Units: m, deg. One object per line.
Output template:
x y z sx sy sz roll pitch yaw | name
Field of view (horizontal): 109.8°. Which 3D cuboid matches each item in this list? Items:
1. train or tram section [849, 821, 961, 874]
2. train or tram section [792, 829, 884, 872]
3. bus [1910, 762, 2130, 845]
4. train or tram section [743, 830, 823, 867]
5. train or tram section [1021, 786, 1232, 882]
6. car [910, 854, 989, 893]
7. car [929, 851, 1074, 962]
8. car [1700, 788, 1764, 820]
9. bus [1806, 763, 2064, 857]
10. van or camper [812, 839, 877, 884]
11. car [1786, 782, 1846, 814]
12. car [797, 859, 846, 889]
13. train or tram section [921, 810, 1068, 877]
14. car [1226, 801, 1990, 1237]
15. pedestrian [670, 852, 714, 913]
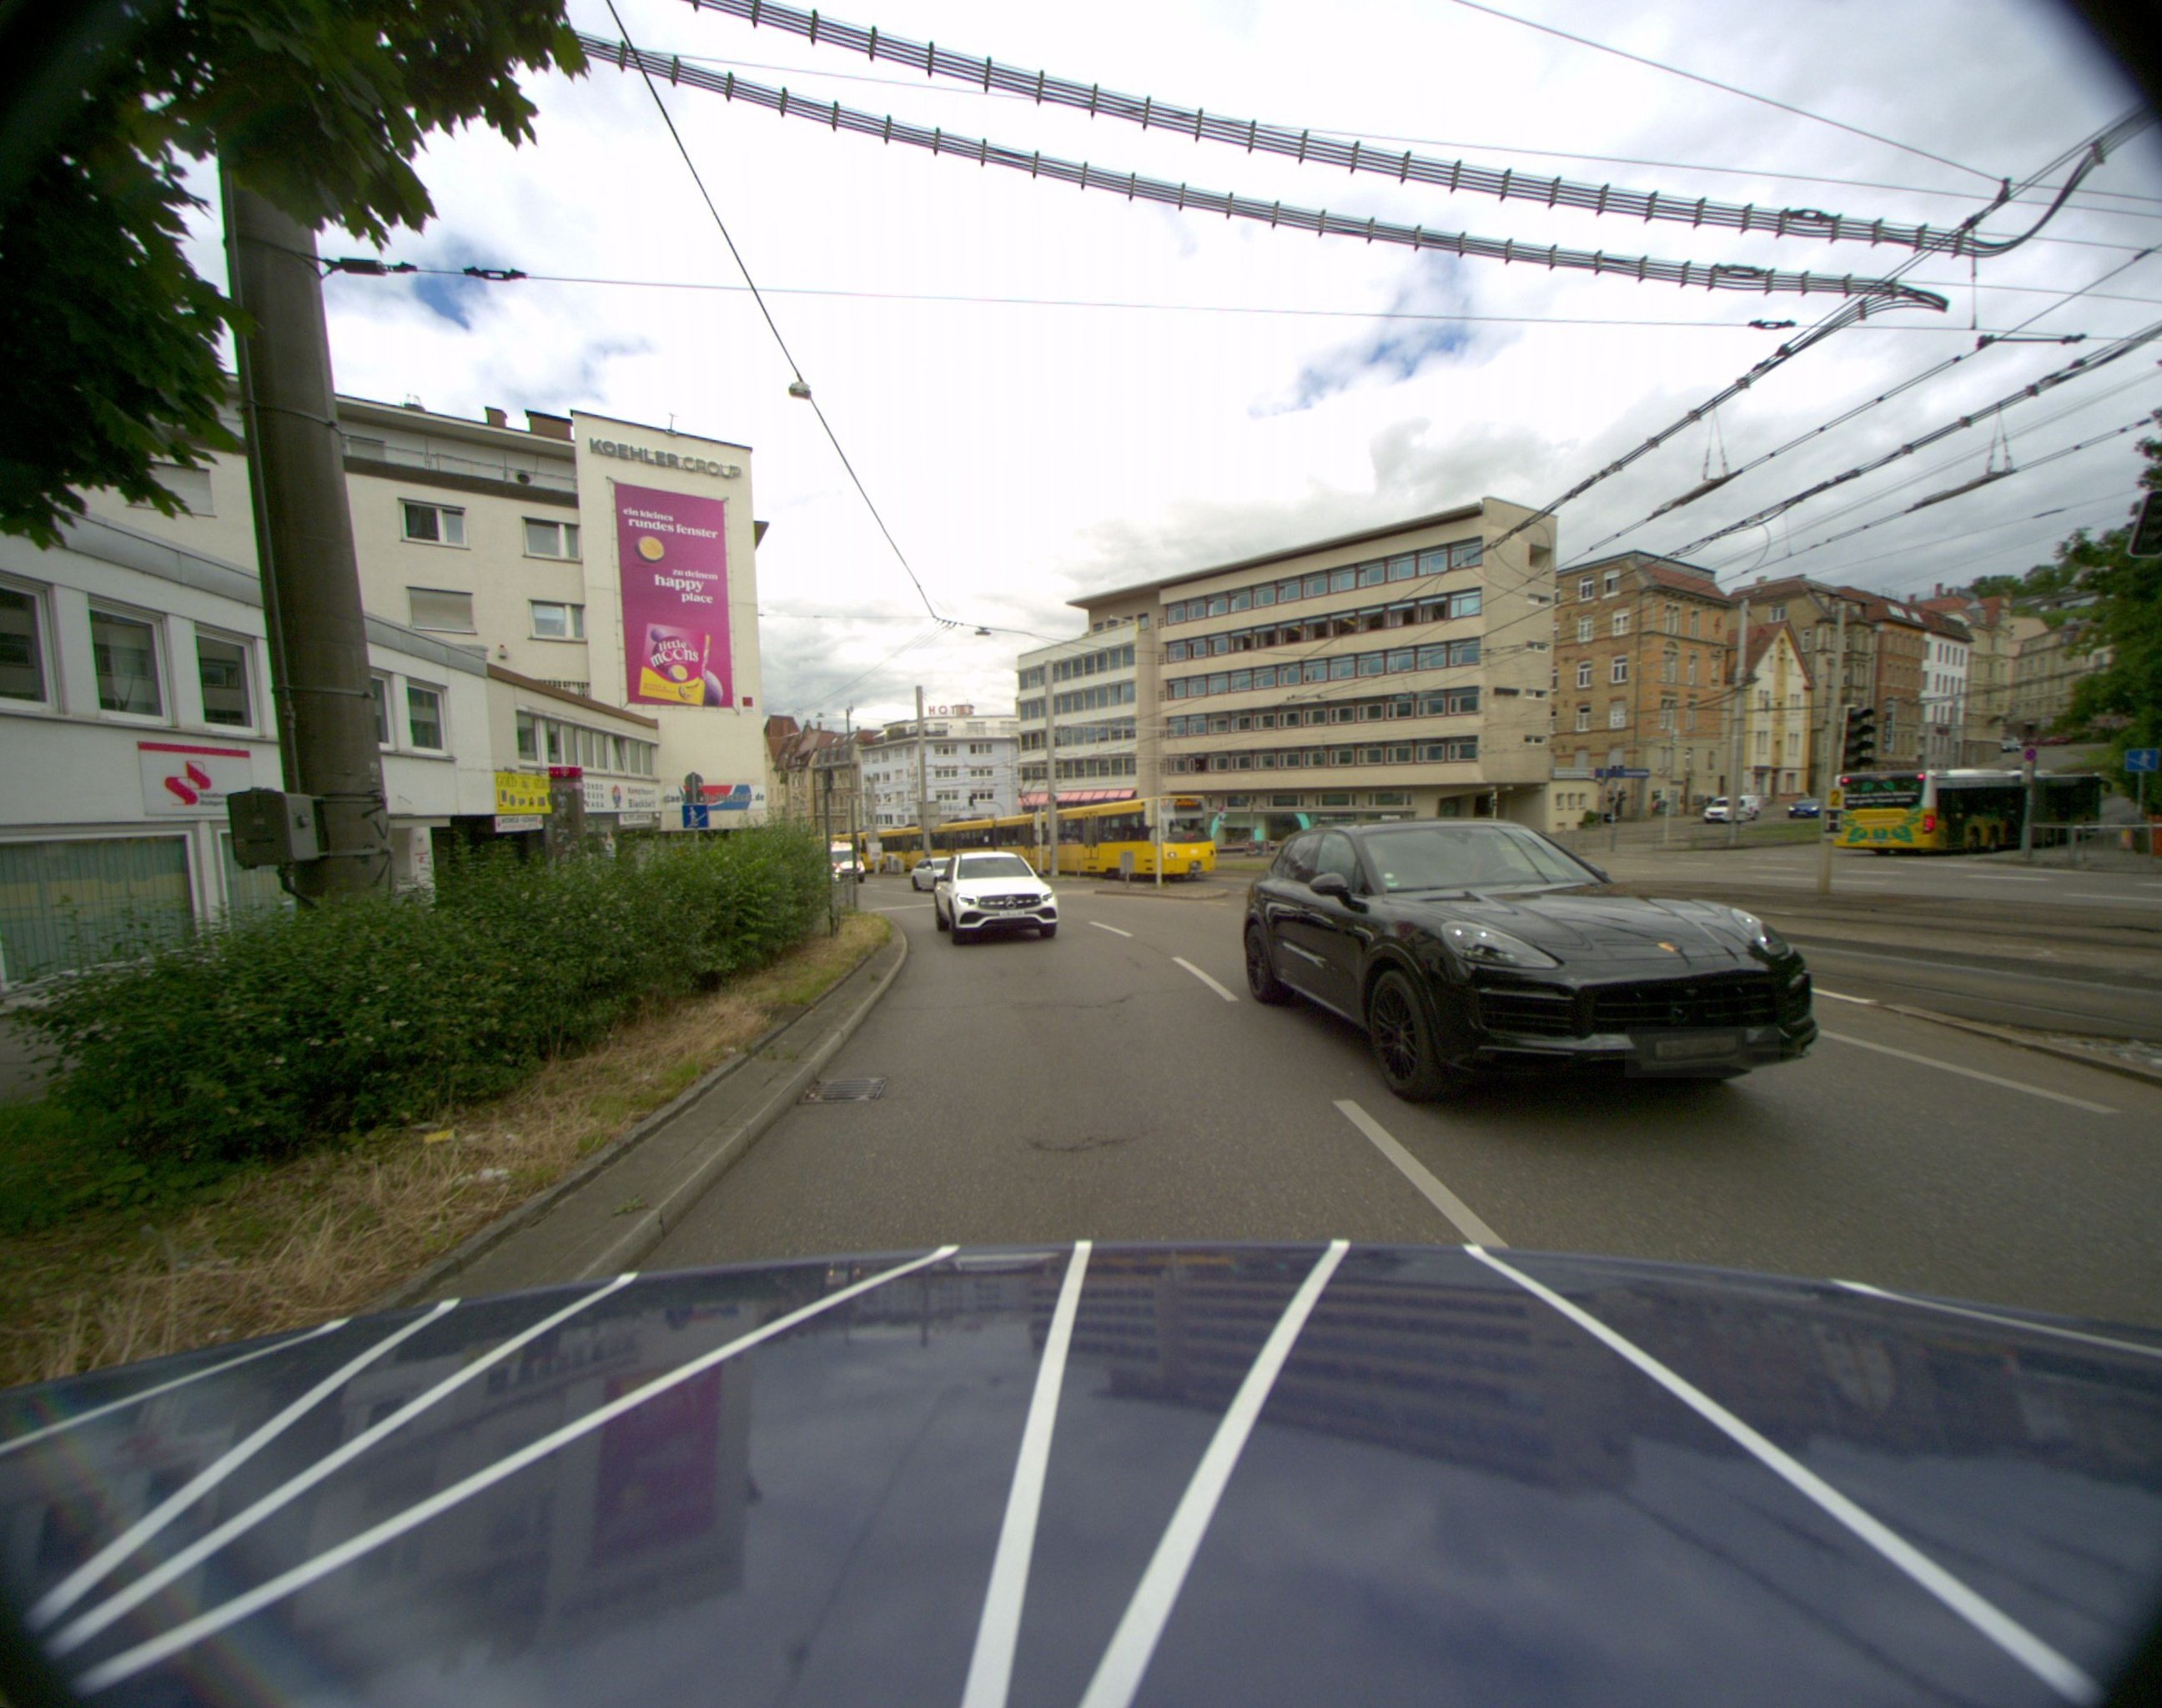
-14.385 -0.422 60.515 2.895 3.644 14.191 -6 3 -37 | train or tram section
-23.154 -0.361 71.568 2.936 3.540 14.189 -7 4 -39 | train or tram section
39.971 -2.181 32.227 11.375 3.026 3.317 -3 1 -26 | bus
-32.475 -0.517 82.239 2.895 3.423 14.191 -8 4 -42 | train or tram section
1.362 -0.816 36.043 2.895 3.643 14.443 -3 1 -27 | train or tram section
-5.857 0.805 33.442 1.901 1.467 4.520 -5 2 -30 | car
-1.752 0.843 14.942 1.937 1.623 4.765 -4 2 -16 | car
46.707 -3.557 54.506 4.005 2.001 1.997 -2 -2 -27 | car
32.279 -1.705 28.565 11.562 3.012 3.383 -3 1 -26 | bus
-15.170 0.432 48.496 2.213 2.544 6.357 -6 3 -32 | van or camper
52.479 -4.003 54.241 4.005 2.002 1.995 -6 2 -29 | car
-14.537 1.077 42.437 1.673 1.521 3.990 -5 2 -31 | car
-6.077 -0.607 49.009 2.895 3.643 14.193 -4 2 -34 | train or tram section
2.688 0.602 5.535 2.033 1.675 4.778 -4 2 -3 | car
-11.815 0.837 23.099 0.836 1.800 1.149 -1 1 -8 | pedestrian
